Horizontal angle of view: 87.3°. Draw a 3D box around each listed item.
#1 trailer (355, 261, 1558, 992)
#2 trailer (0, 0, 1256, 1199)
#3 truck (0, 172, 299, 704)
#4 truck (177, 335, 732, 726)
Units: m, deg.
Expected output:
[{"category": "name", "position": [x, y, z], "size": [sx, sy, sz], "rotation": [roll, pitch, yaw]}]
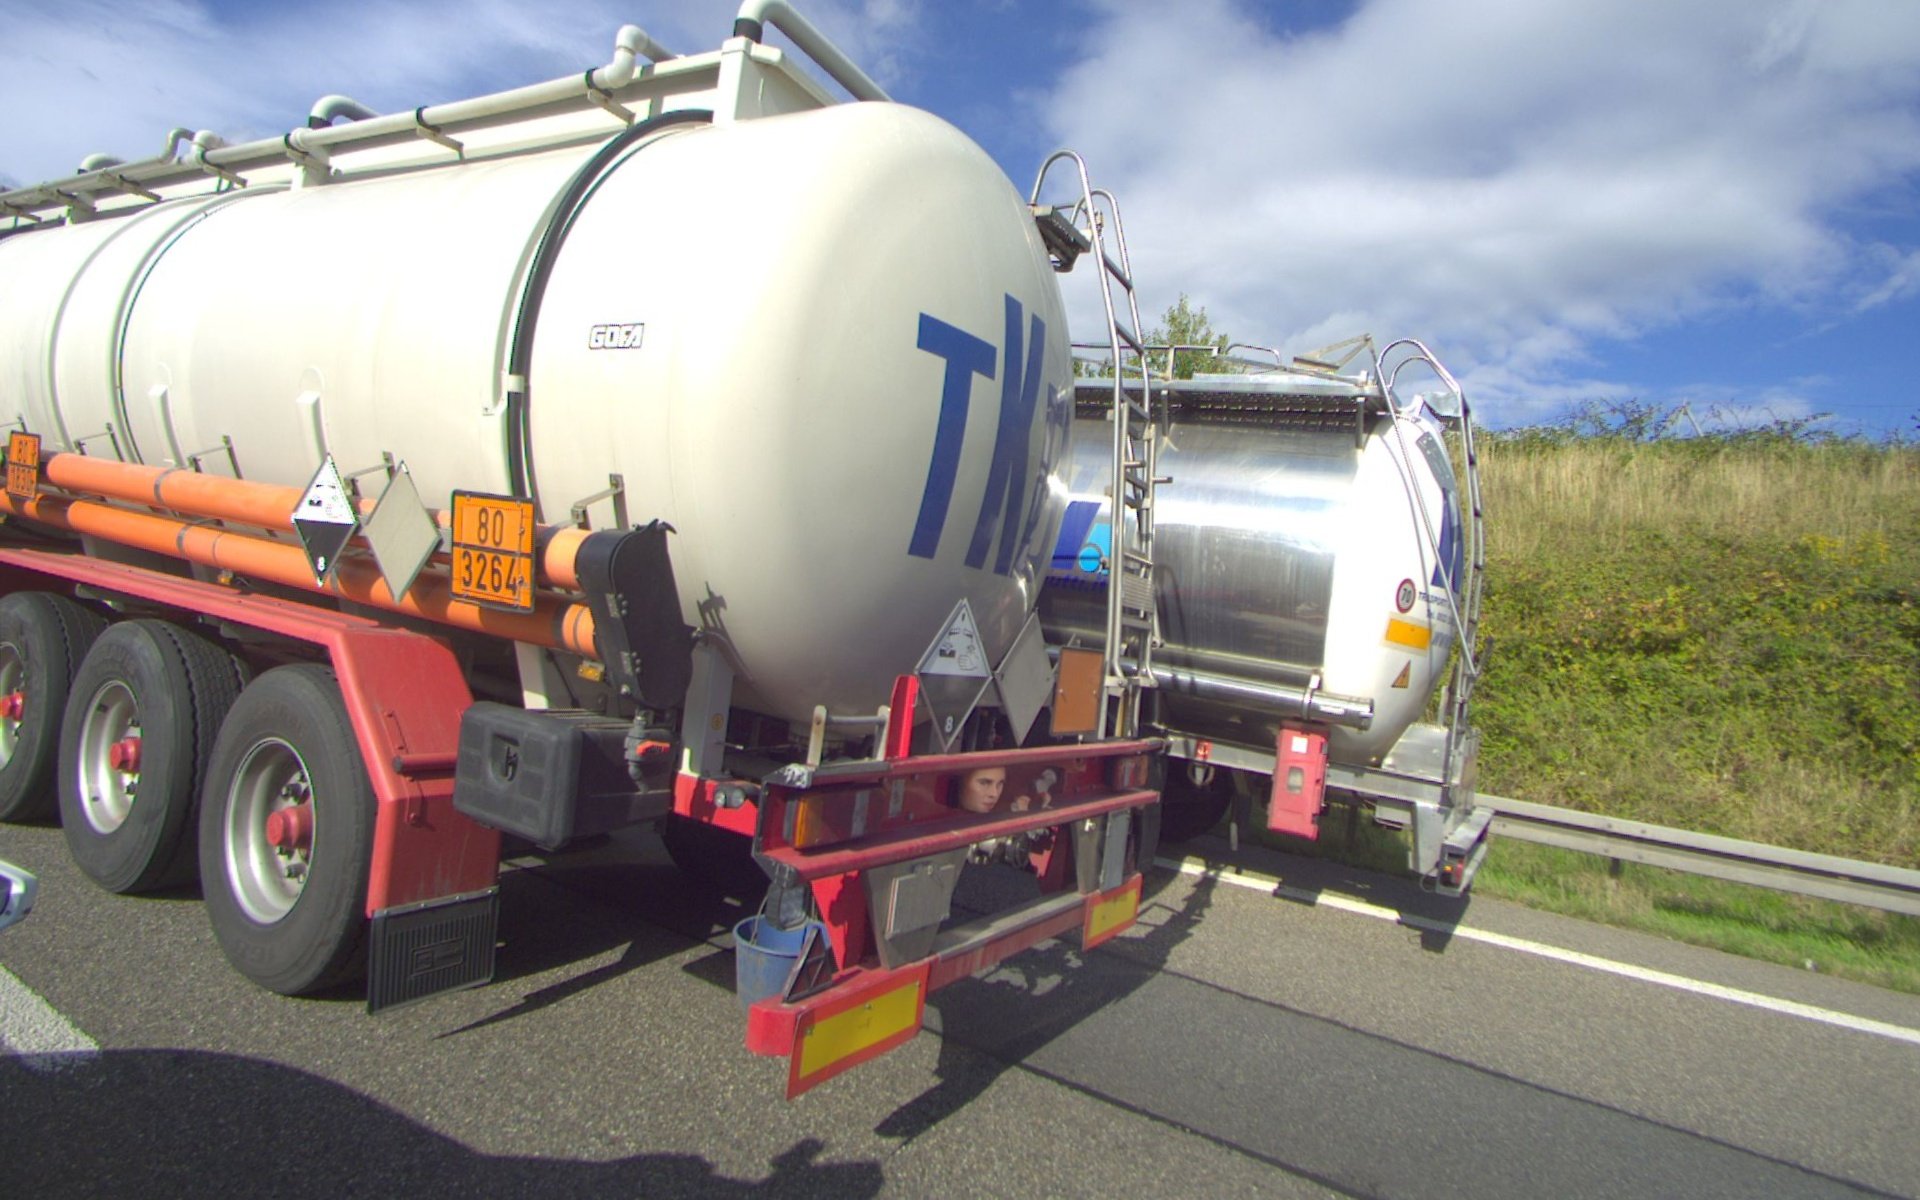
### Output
[{"category": "trailer", "position": [-1.021, -0.248, 8.817], "size": [10.450, 3.641, 2.545], "rotation": [6, -1, 32]}, {"category": "trailer", "position": [-4.037, -0.830, 5.885], "size": [10.450, 3.697, 2.546], "rotation": [6, -1, 32]}, {"category": "truck", "position": [-9.221, -1.362, 9.085], "size": [6.617, 3.626, 2.538], "rotation": [7, -1, 31]}, {"category": "truck", "position": [-6.256, -0.844, 12.084], "size": [6.664, 3.616, 2.533], "rotation": [6, -1, 32]}]
